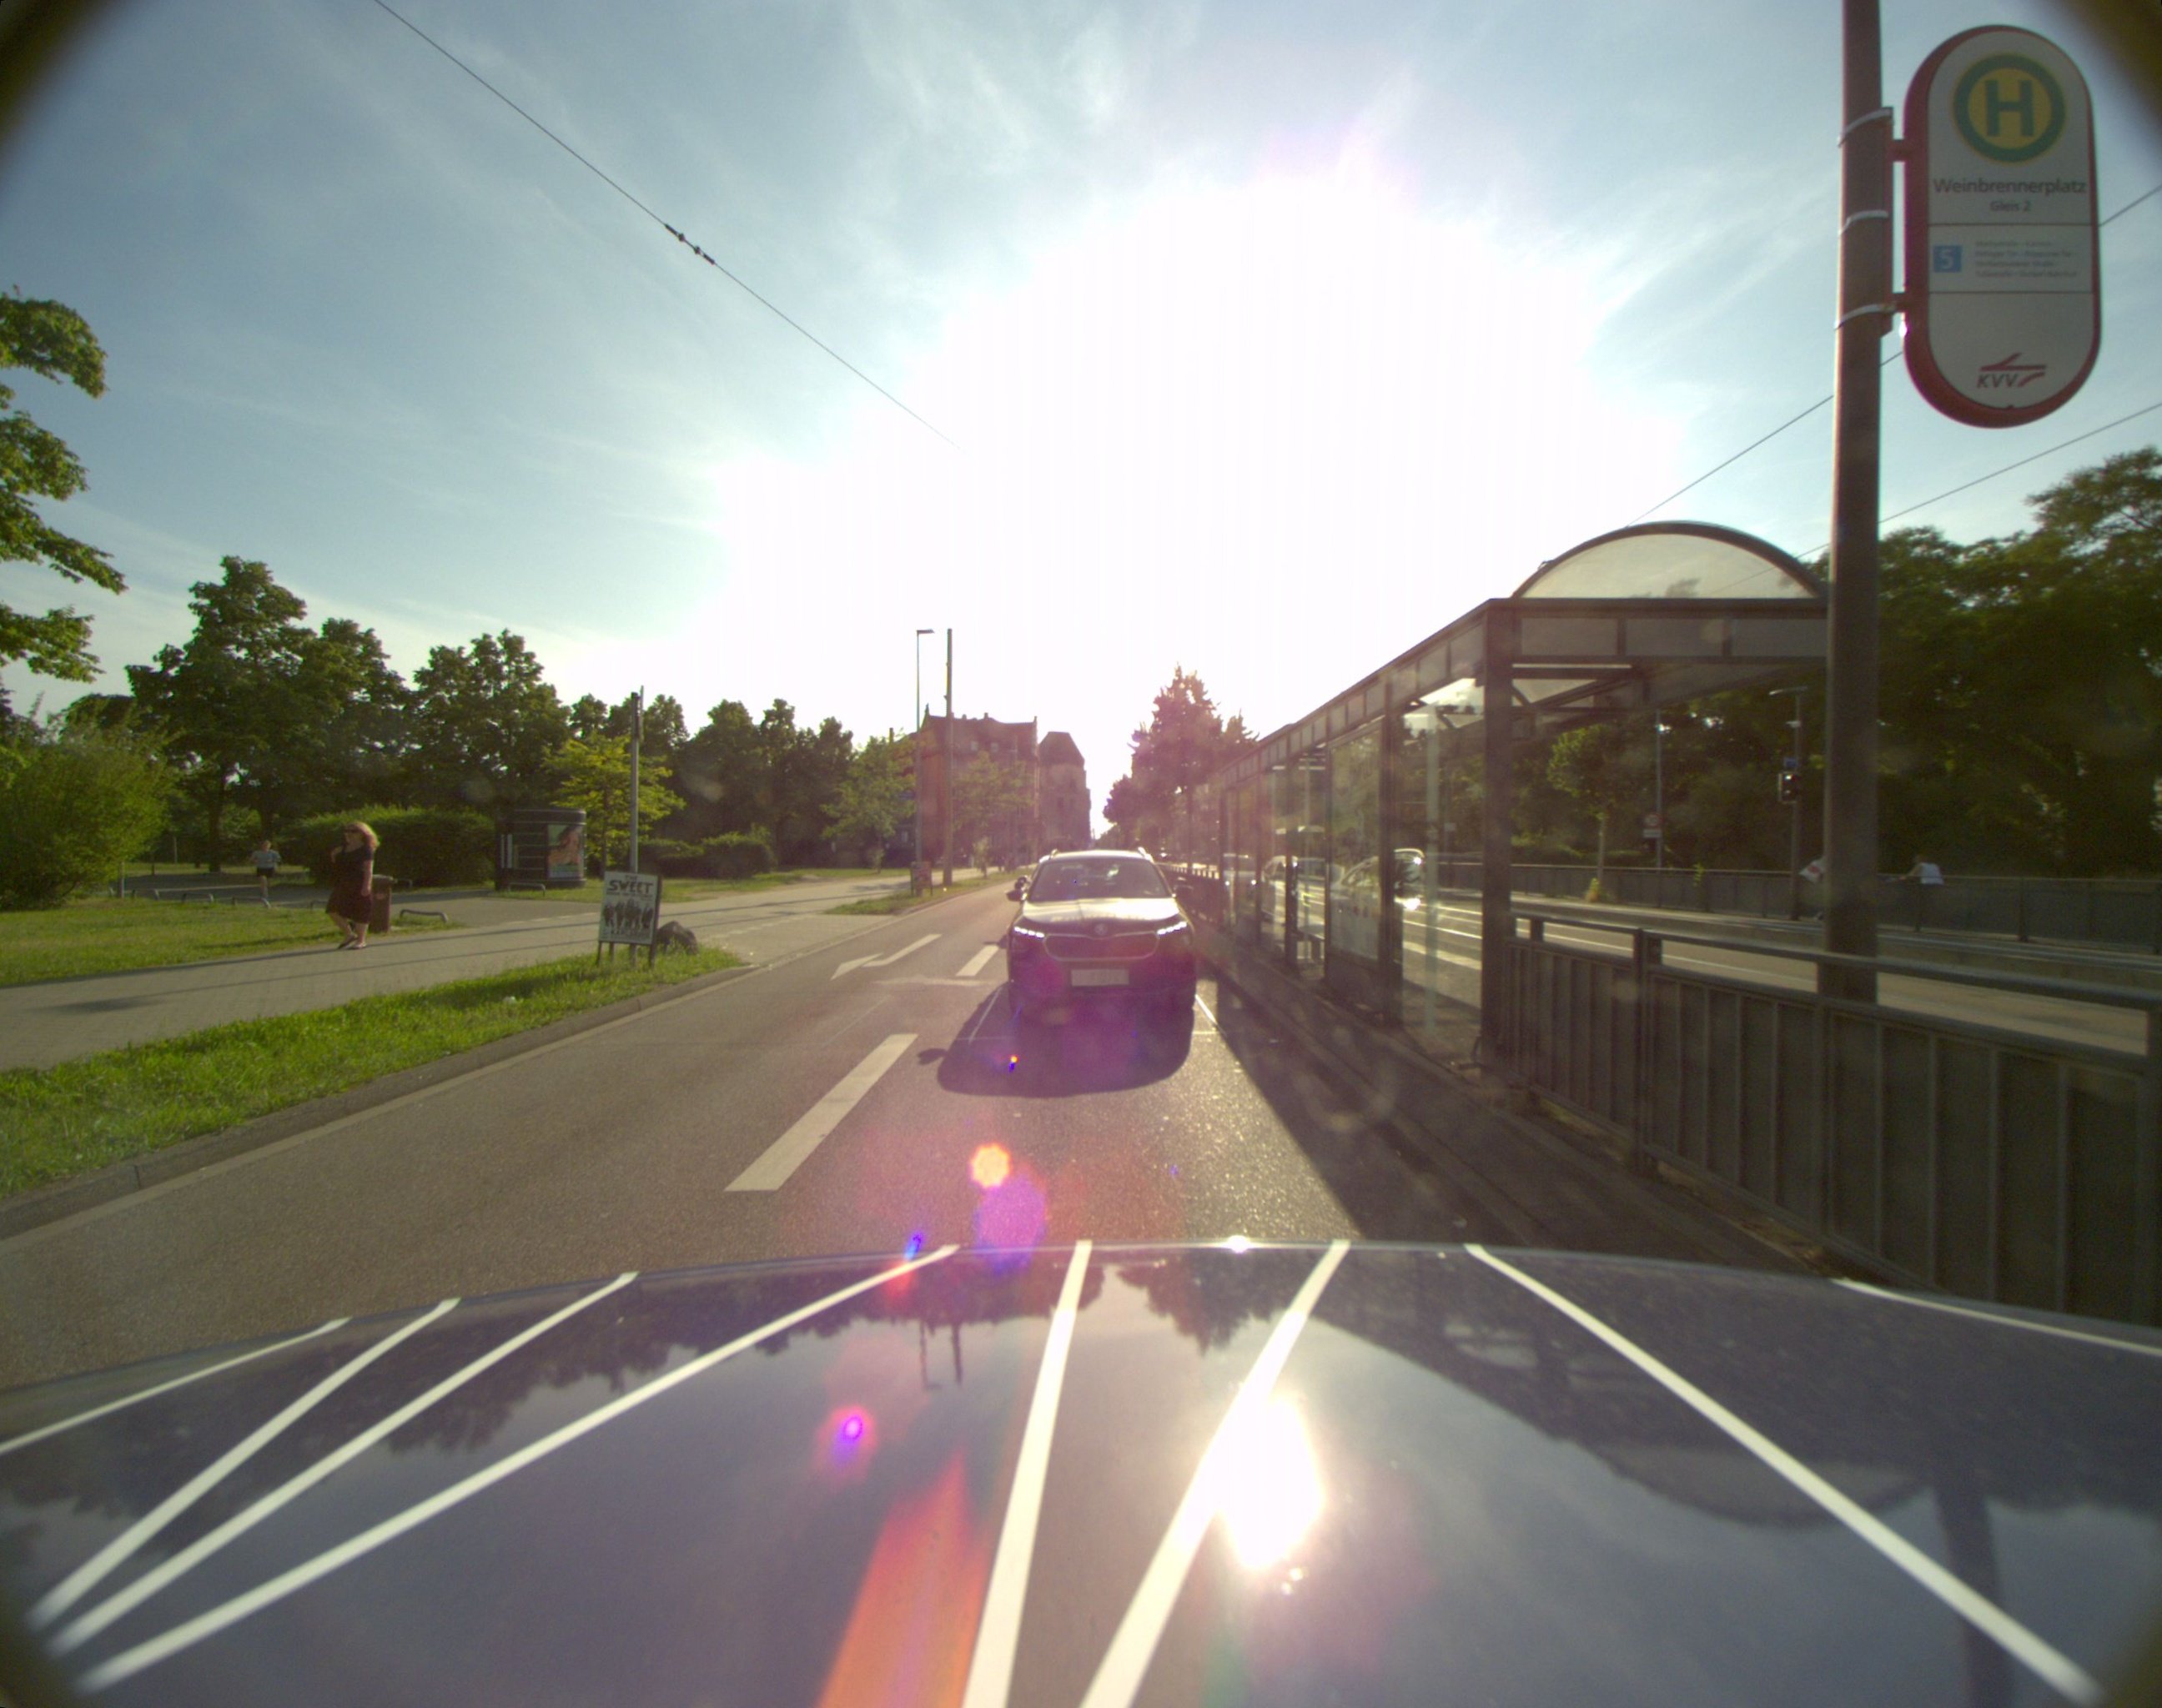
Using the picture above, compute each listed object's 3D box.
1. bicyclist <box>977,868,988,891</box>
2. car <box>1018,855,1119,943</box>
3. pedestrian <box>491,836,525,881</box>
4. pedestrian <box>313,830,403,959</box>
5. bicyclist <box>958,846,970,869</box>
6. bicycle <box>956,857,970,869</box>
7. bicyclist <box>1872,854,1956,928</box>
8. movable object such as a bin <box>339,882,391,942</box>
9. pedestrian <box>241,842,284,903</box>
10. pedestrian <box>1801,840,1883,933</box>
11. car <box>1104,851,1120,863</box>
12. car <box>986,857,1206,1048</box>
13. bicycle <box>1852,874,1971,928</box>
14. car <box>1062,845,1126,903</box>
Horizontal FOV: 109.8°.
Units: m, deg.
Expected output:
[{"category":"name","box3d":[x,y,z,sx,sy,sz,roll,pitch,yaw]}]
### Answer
[{"category":"bicyclist","box3d":[-7.684,1.957,59.066,0.730,1.763,1.015,0,1,0]},{"category":"car","box3d":[-0.193,0.799,15.331,1.781,1.496,4.000,0,1,1]},{"category":"pedestrian","box3d":[-27.591,0.191,36.590,0.910,2.145,0.891,0,1,13]},{"category":"pedestrian","box3d":[-9.761,0.534,10.283,0.558,1.691,0.662,0,1,0]},{"category":"bicyclist","box3d":[-9.066,0.298,58.748,0.754,1.763,1.118,0,1,0]},{"category":"bicycle","box3d":[-9.072,0.683,58.519,0.740,0.912,2.094,0,1,0]},{"category":"bicyclist","box3d":[19.077,0.821,17.426,0.706,1.614,1.072,-3,0,2]},{"category":"movable object such as a bin","box3d":[-11.332,0.906,12.032,0.502,0.898,0.526,1,1,39]},{"category":"pedestrian","box3d":[-22.366,0.482,20.762,0.660,1.642,0.623,1,1,26]},{"category":"pedestrian","box3d":[13.497,0.560,13.496,0.736,1.619,0.689,0,1,1]},{"category":"car","box3d":[4.235,0.387,104.018,1.999,1.674,3.999,0,0,-1]},{"category":"car","box3d":[0.148,0.810,8.179,1.781,1.496,4.000,0,1,1]},{"category":"bicycle","box3d":[19.101,1.055,17.538,0.727,1.103,1.865,-2,0,2]},{"category":"car","box3d":[0.364,0.505,21.765,1.672,1.496,3.871,0,1,1]}]
